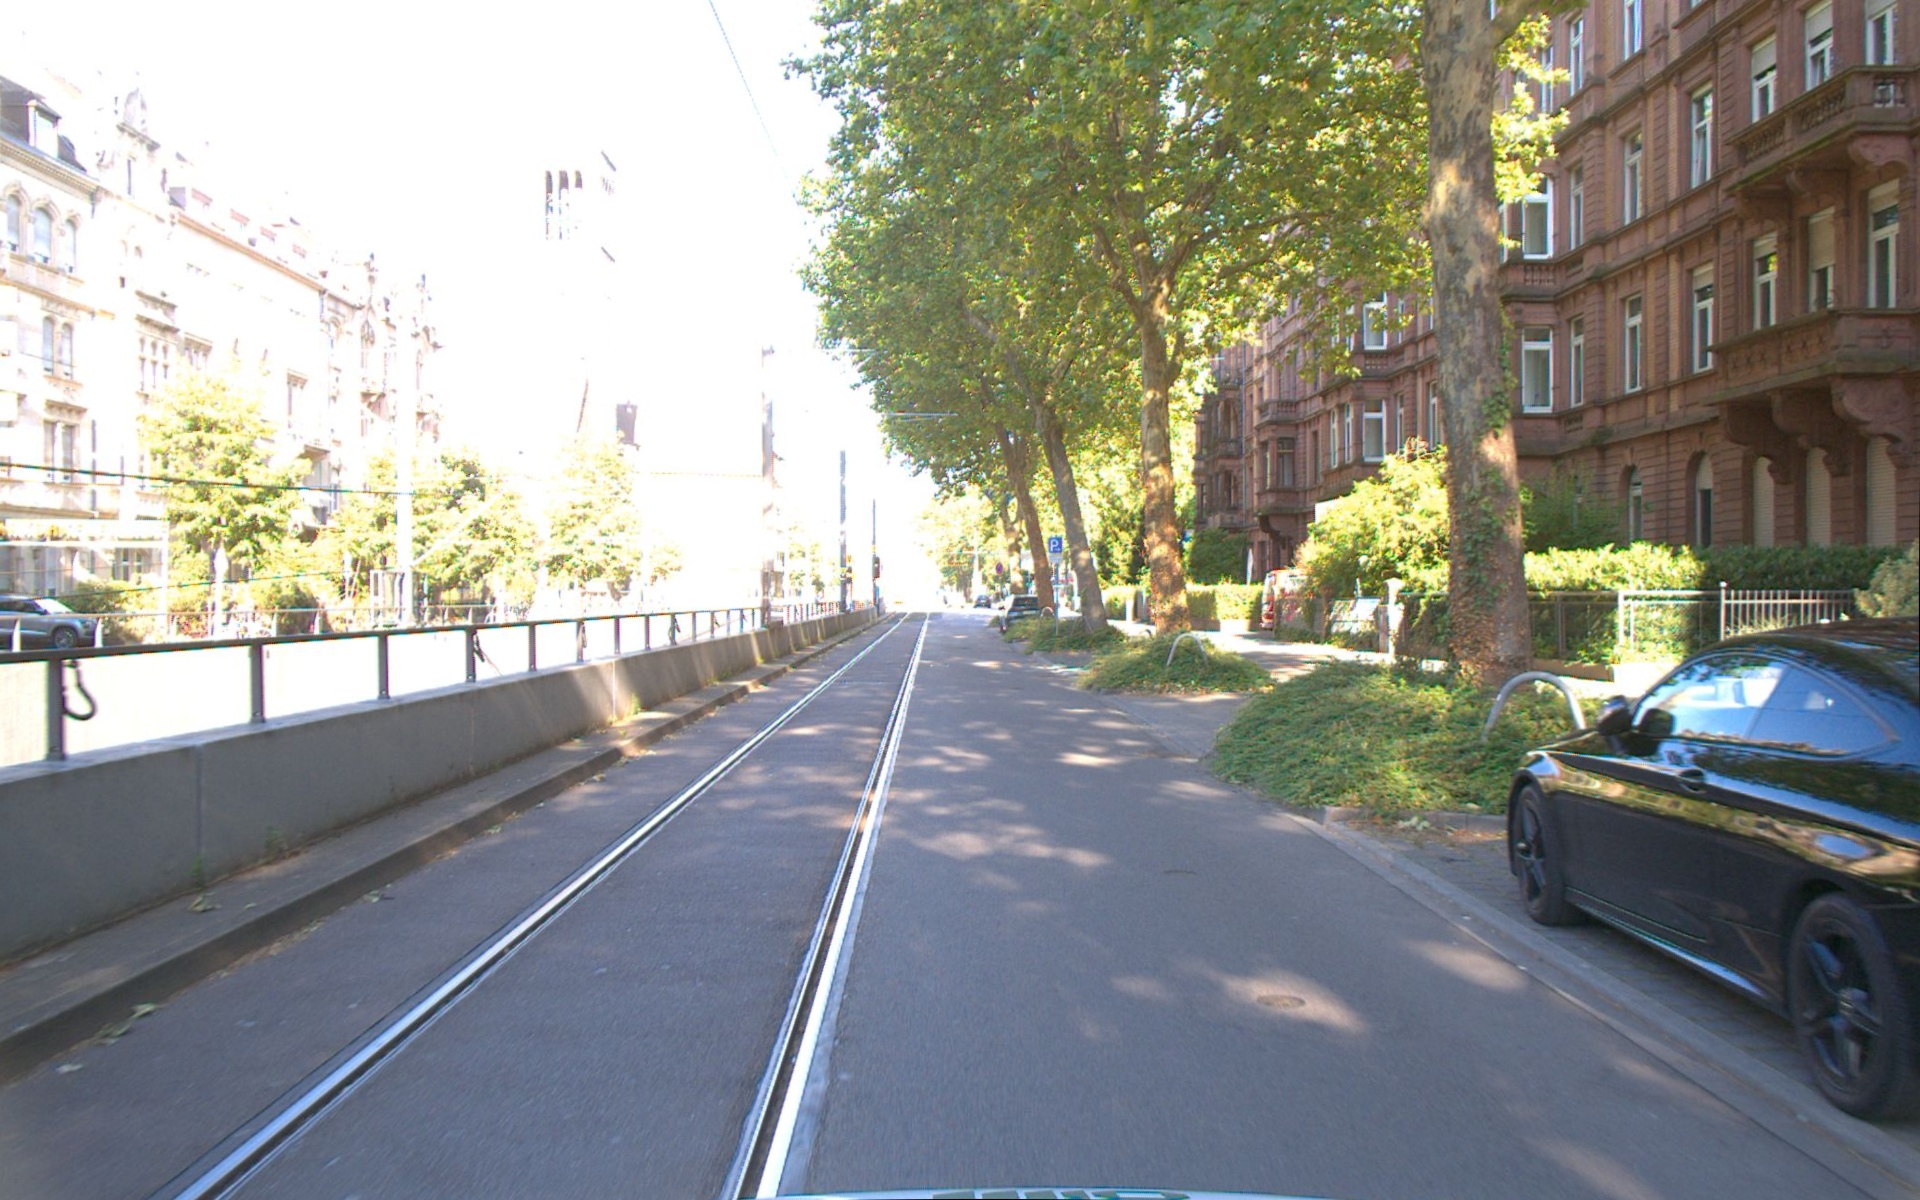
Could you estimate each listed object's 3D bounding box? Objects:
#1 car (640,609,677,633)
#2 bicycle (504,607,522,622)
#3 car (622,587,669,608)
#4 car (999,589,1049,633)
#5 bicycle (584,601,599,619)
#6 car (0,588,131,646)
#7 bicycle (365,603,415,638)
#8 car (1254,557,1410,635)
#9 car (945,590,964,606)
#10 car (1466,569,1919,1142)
[{"bbox_3d":[-21.716,1.522,119.297,1.680,1.582,4.510,2,0,1],"label":"car"},{"bbox_3d":[-25.297,0.803,93.697,0.408,0.814,1.888,2,0,2],"label":"bicycle"},{"bbox_3d":[-29.518,-0.211,155.294,3.904,1.787,1.895,2,0,1],"label":"car"},{"bbox_3d":[2.434,0.394,63.883,1.584,1.615,4.415,-1,0,-2],"label":"car"},{"bbox_3d":[-22.185,0.612,99.570,0.479,1.040,1.879,2,0,-24],"label":"bicycle"},{"bbox_3d":[-27.404,0.512,49.879,3.915,1.653,1.820,1,0,-11],"label":"car"},{"bbox_3d":[-21.584,0.773,62.638,1.694,1.302,0.600,0,0,5],"label":"bicycle"},{"bbox_3d":[11.048,-0.125,49.357,4.093,2.048,1.999,-3,0,-3],"label":"car"},{"bbox_3d":[-0.553,-0.195,161.419,1.710,1.487,3.643,2,0,-2],"label":"car"},{"bbox_3d":[3.479,0.688,6.246,1.696,1.563,4.805,0,0,0],"label":"car"}]
